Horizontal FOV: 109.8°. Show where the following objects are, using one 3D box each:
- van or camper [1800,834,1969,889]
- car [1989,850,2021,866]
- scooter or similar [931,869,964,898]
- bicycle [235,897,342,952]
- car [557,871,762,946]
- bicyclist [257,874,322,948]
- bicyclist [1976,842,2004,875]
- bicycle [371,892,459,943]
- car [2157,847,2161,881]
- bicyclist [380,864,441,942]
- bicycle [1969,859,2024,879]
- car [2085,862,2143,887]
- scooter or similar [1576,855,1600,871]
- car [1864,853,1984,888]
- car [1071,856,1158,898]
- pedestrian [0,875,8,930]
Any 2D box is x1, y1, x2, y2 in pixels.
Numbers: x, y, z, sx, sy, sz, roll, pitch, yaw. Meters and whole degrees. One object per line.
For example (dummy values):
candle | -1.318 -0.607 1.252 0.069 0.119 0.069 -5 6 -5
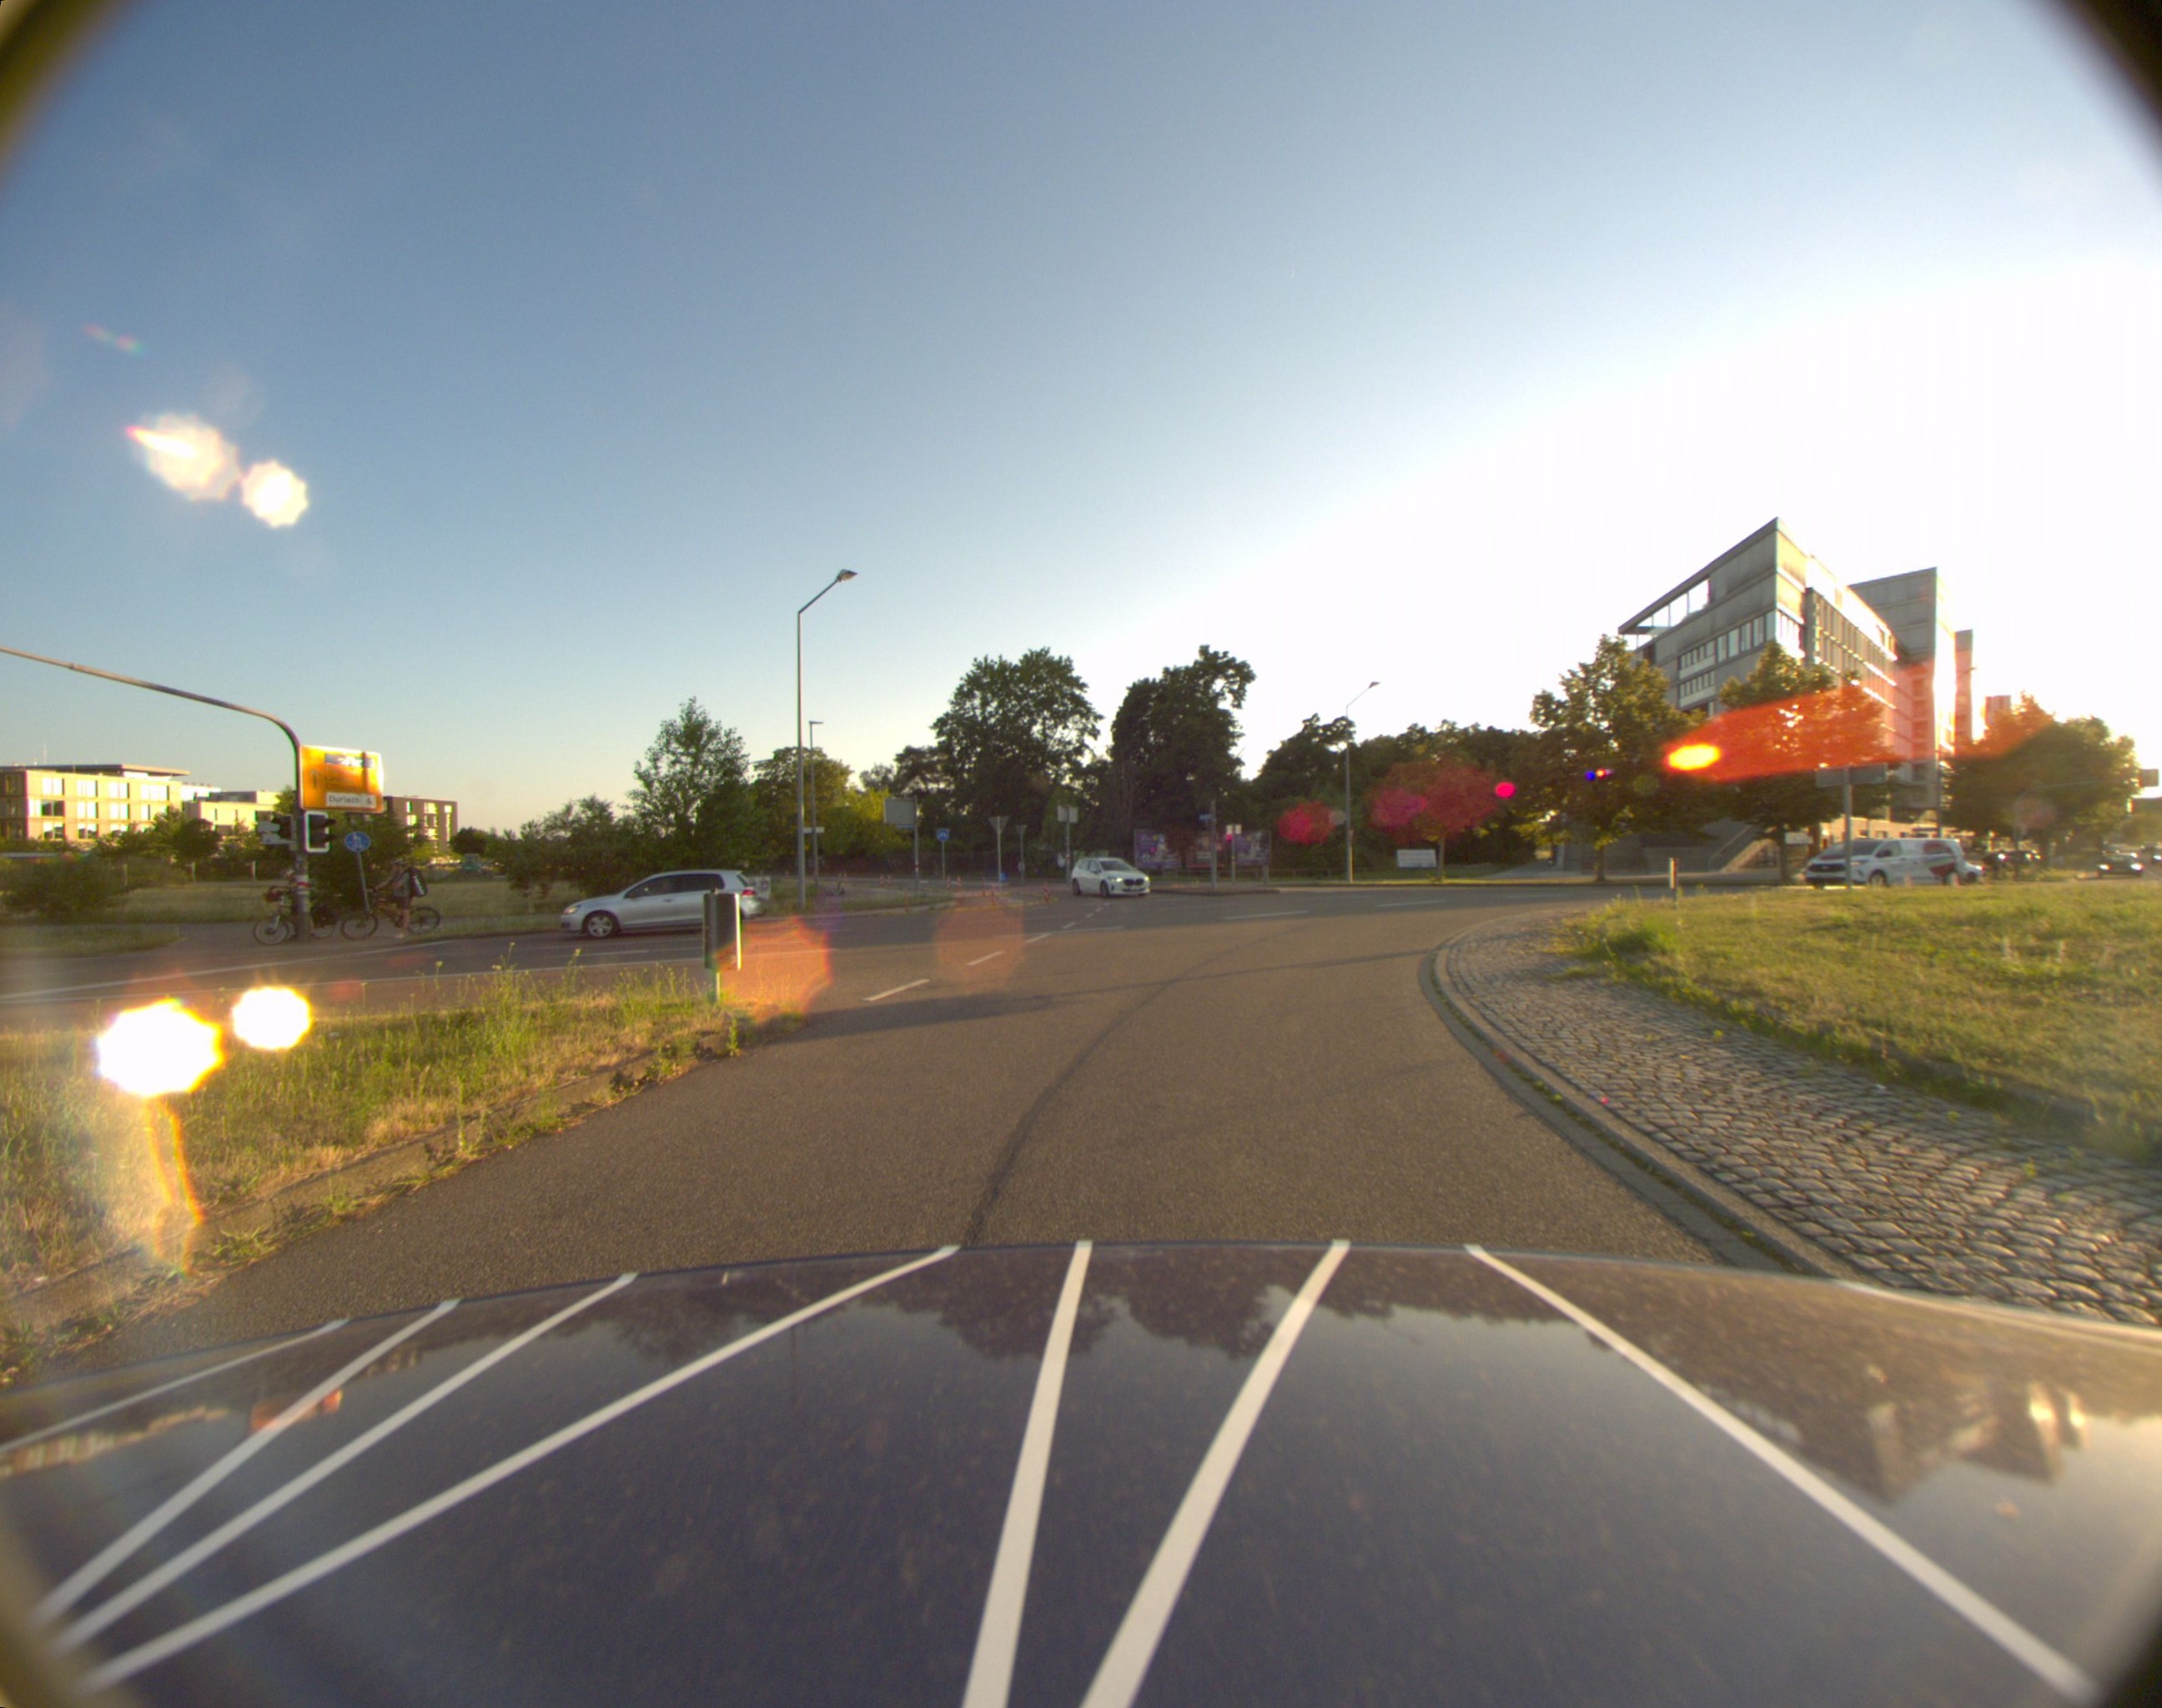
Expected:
van or camper | 30.663 0.253 29.040 5.330 1.946 1.998 -1 1 -13
car | 89.066 0.350 73.193 4.008 1.455 1.798 0 0 -37
scooter or similar | -5.537 1.226 31.632 0.441 1.156 1.386 0 0 39
bicycle | -19.049 1.672 18.337 0.456 1.079 1.928 -1 3 2
car | -9.823 1.219 18.106 4.056 1.472 1.889 -1 0 -23
bicyclist | -19.041 1.364 18.293 0.641 1.693 0.770 -1 3 1
bicyclist | 49.094 0.259 41.044 0.805 1.745 0.847 -1 0 -30
bicycle | -16.895 1.589 19.333 0.456 1.079 1.928 -1 2 2
car | 51.265 0.412 34.520 4.003 1.527 1.742 -1 0 -20
bicyclist | -16.978 1.211 19.264 0.641 1.887 0.910 -1 2 1
bicycle | 49.616 0.800 41.211 0.438 1.016 1.859 -1 0 -29
car | 65.402 1.248 48.084 4.006 1.431 1.741 -1 0 -30
scooter or similar | 39.083 0.665 58.543 0.367 1.213 1.573 -1 0 -27
car | 37.744 0.702 34.018 4.562 1.422 1.743 -1 0 -15
car | 1.283 0.900 31.013 1.893 1.549 4.087 -1 0 -25
pedestrian | -30.339 1.356 20.868 0.567 1.541 0.797 -1 1 4
